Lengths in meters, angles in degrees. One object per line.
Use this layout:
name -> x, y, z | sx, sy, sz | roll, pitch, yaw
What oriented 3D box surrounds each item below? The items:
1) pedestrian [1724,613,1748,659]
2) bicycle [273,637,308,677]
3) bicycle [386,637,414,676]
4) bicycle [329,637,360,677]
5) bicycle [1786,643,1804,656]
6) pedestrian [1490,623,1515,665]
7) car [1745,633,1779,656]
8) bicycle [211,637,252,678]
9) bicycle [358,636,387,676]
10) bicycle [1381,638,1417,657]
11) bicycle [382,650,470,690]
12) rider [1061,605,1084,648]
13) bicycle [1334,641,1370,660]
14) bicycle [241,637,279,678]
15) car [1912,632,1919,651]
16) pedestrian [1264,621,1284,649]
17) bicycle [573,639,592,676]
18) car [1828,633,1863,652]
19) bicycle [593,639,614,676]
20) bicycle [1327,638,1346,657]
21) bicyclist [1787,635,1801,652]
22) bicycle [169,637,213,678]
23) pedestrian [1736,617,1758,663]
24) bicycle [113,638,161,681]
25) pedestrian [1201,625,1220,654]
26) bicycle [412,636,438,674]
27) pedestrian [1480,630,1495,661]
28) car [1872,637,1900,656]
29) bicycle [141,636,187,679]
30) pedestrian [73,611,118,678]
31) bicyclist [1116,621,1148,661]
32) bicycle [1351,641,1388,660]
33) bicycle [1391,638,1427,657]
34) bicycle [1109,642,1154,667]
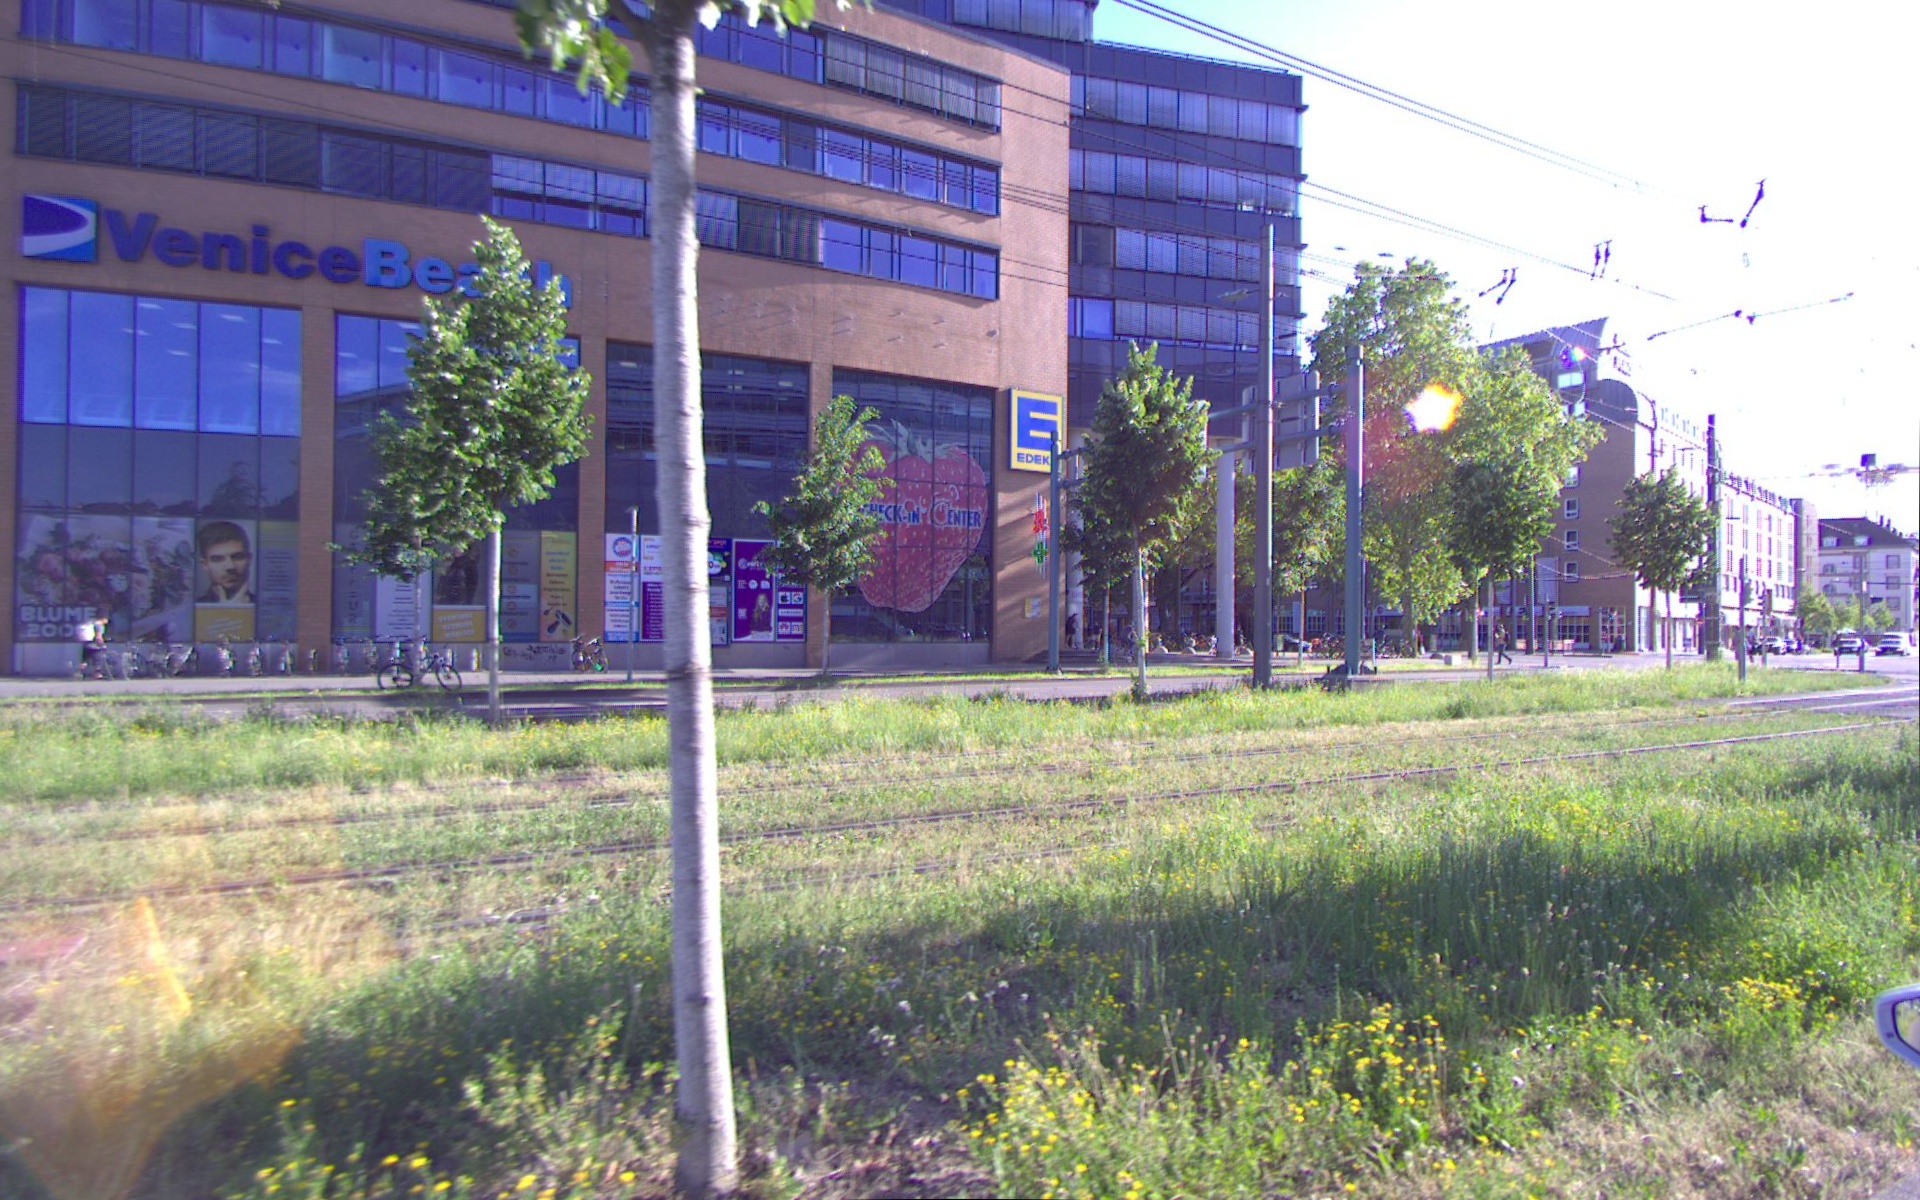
pedestrian -> 31.621, 1.464, 40.947 | 0.657, 1.854, 0.627 | 1, -1, -37
bicycle -> -18.644, 1.570, 27.997 | 0.483, 1.063, 1.762 | 1, -1, -23
bicycle -> -16.228, 1.611, 29.136 | 0.483, 1.063, 1.762 | 1, -1, -23
bicycle -> -17.472, 1.600, 28.541 | 0.483, 1.063, 1.762 | 1, -1, -23
bicycle -> 72.099, 4.255, 86.710 | 2.901, 1.099, 0.644 | 2, -2, -39
pedestrian -> 26.977, 2.199, 49.976 | 0.826, 2.040, 0.730 | 1, 0, -26
car -> 73.504, 4.016, 92.007 | 3.973, 2.040, 1.974 | 2, -2, -44
bicycle -> -19.918, 1.559, 27.488 | 0.483, 1.063, 1.762 | 1, -1, -23
bicycle -> -16.876, 1.594, 28.862 | 0.483, 1.063, 1.762 | 1, -1, -23
bicycle -> 23.463, 2.540, 53.713 | 0.536, 0.964, 1.753 | 1, -1, -37
bicycle -> -12.235, 1.592, 23.049 | 1.751, 0.880, 0.460 | 1, -1, -31
rider -> 4.830, 1.127, 43.214 | 0.704, 1.826, 0.714 | 1, -1, -30
bicycle -> 20.628, 2.651, 52.867 | 0.538, 0.964, 1.748 | 2, -2, -45
bicycle -> -19.325, 1.574, 27.741 | 0.483, 1.063, 1.762 | 1, -1, -23
car -> 80.579, 3.461, 83.702 | 1.725, 1.524, 3.860 | -1, -2, 42
pedestrian -> 18.279, 2.024, 58.431 | 0.826, 1.619, 0.730 | 1, 0, -26
bicycle -> -11.595, 1.751, 30.821 | 0.483, 1.063, 1.762 | 1, -1, -23
car -> 78.482, 3.743, 88.971 | 4.706, 1.617, 1.974 | 2, -2, -44
bicycle -> -11.039, 1.765, 31.079 | 0.483, 1.063, 1.762 | 1, -1, -23
bicycle -> 20.522, 2.592, 54.759 | 0.530, 0.964, 1.772 | 0, -1, 6
bicyclist -> 71.664, 3.725, 86.298 | 0.942, 1.393, 0.751 | 1, -1, -38
bicycle -> -20.794, 1.537, 27.180 | 0.483, 1.063, 1.762 | 1, -1, -23
pedestrian -> 32.448, 1.645, 41.412 | 0.657, 1.841, 0.559 | 1, -1, -37
bicycle -> -21.840, 1.565, 26.680 | 0.483, 1.063, 1.762 | 1, -1, -23
pedestrian -> 14.651, 2.317, 58.810 | 0.826, 1.667, 0.730 | 1, -1, -26
bicycle -> -15.848, 1.623, 29.781 | 0.483, 1.063, 1.762 | 1, -1, -23
pedestrian -> 34.561, 2.990, 65.823 | 0.670, 2.040, 0.663 | 1, -1, -30
car -> 79.811, 3.974, 86.623 | 1.725, 1.524, 3.860 | -1, -2, 42
bicycle -> -21.328, 1.523, 26.941 | 0.483, 1.063, 1.762 | 1, -1, -23
pedestrian -> -22.330, 1.146, 25.957 | 0.666, 1.691, 0.742 | 1, -1, -25
bicyclist -> 6.512, 1.554, 37.975 | 1.006, 1.484, 0.674 | 1, -1, -34
bicycle -> 21.692, 2.654, 53.253 | 1.741, 0.964, 0.540 | 0, -1, 33
bicycle -> 24.222, 2.560, 54.220 | 0.536, 0.964, 1.753 | 1, -1, -37
bicycle -> 6.498, 2.051, 37.973 | 1.868, 0.922, 0.495 | 1, -1, -34
